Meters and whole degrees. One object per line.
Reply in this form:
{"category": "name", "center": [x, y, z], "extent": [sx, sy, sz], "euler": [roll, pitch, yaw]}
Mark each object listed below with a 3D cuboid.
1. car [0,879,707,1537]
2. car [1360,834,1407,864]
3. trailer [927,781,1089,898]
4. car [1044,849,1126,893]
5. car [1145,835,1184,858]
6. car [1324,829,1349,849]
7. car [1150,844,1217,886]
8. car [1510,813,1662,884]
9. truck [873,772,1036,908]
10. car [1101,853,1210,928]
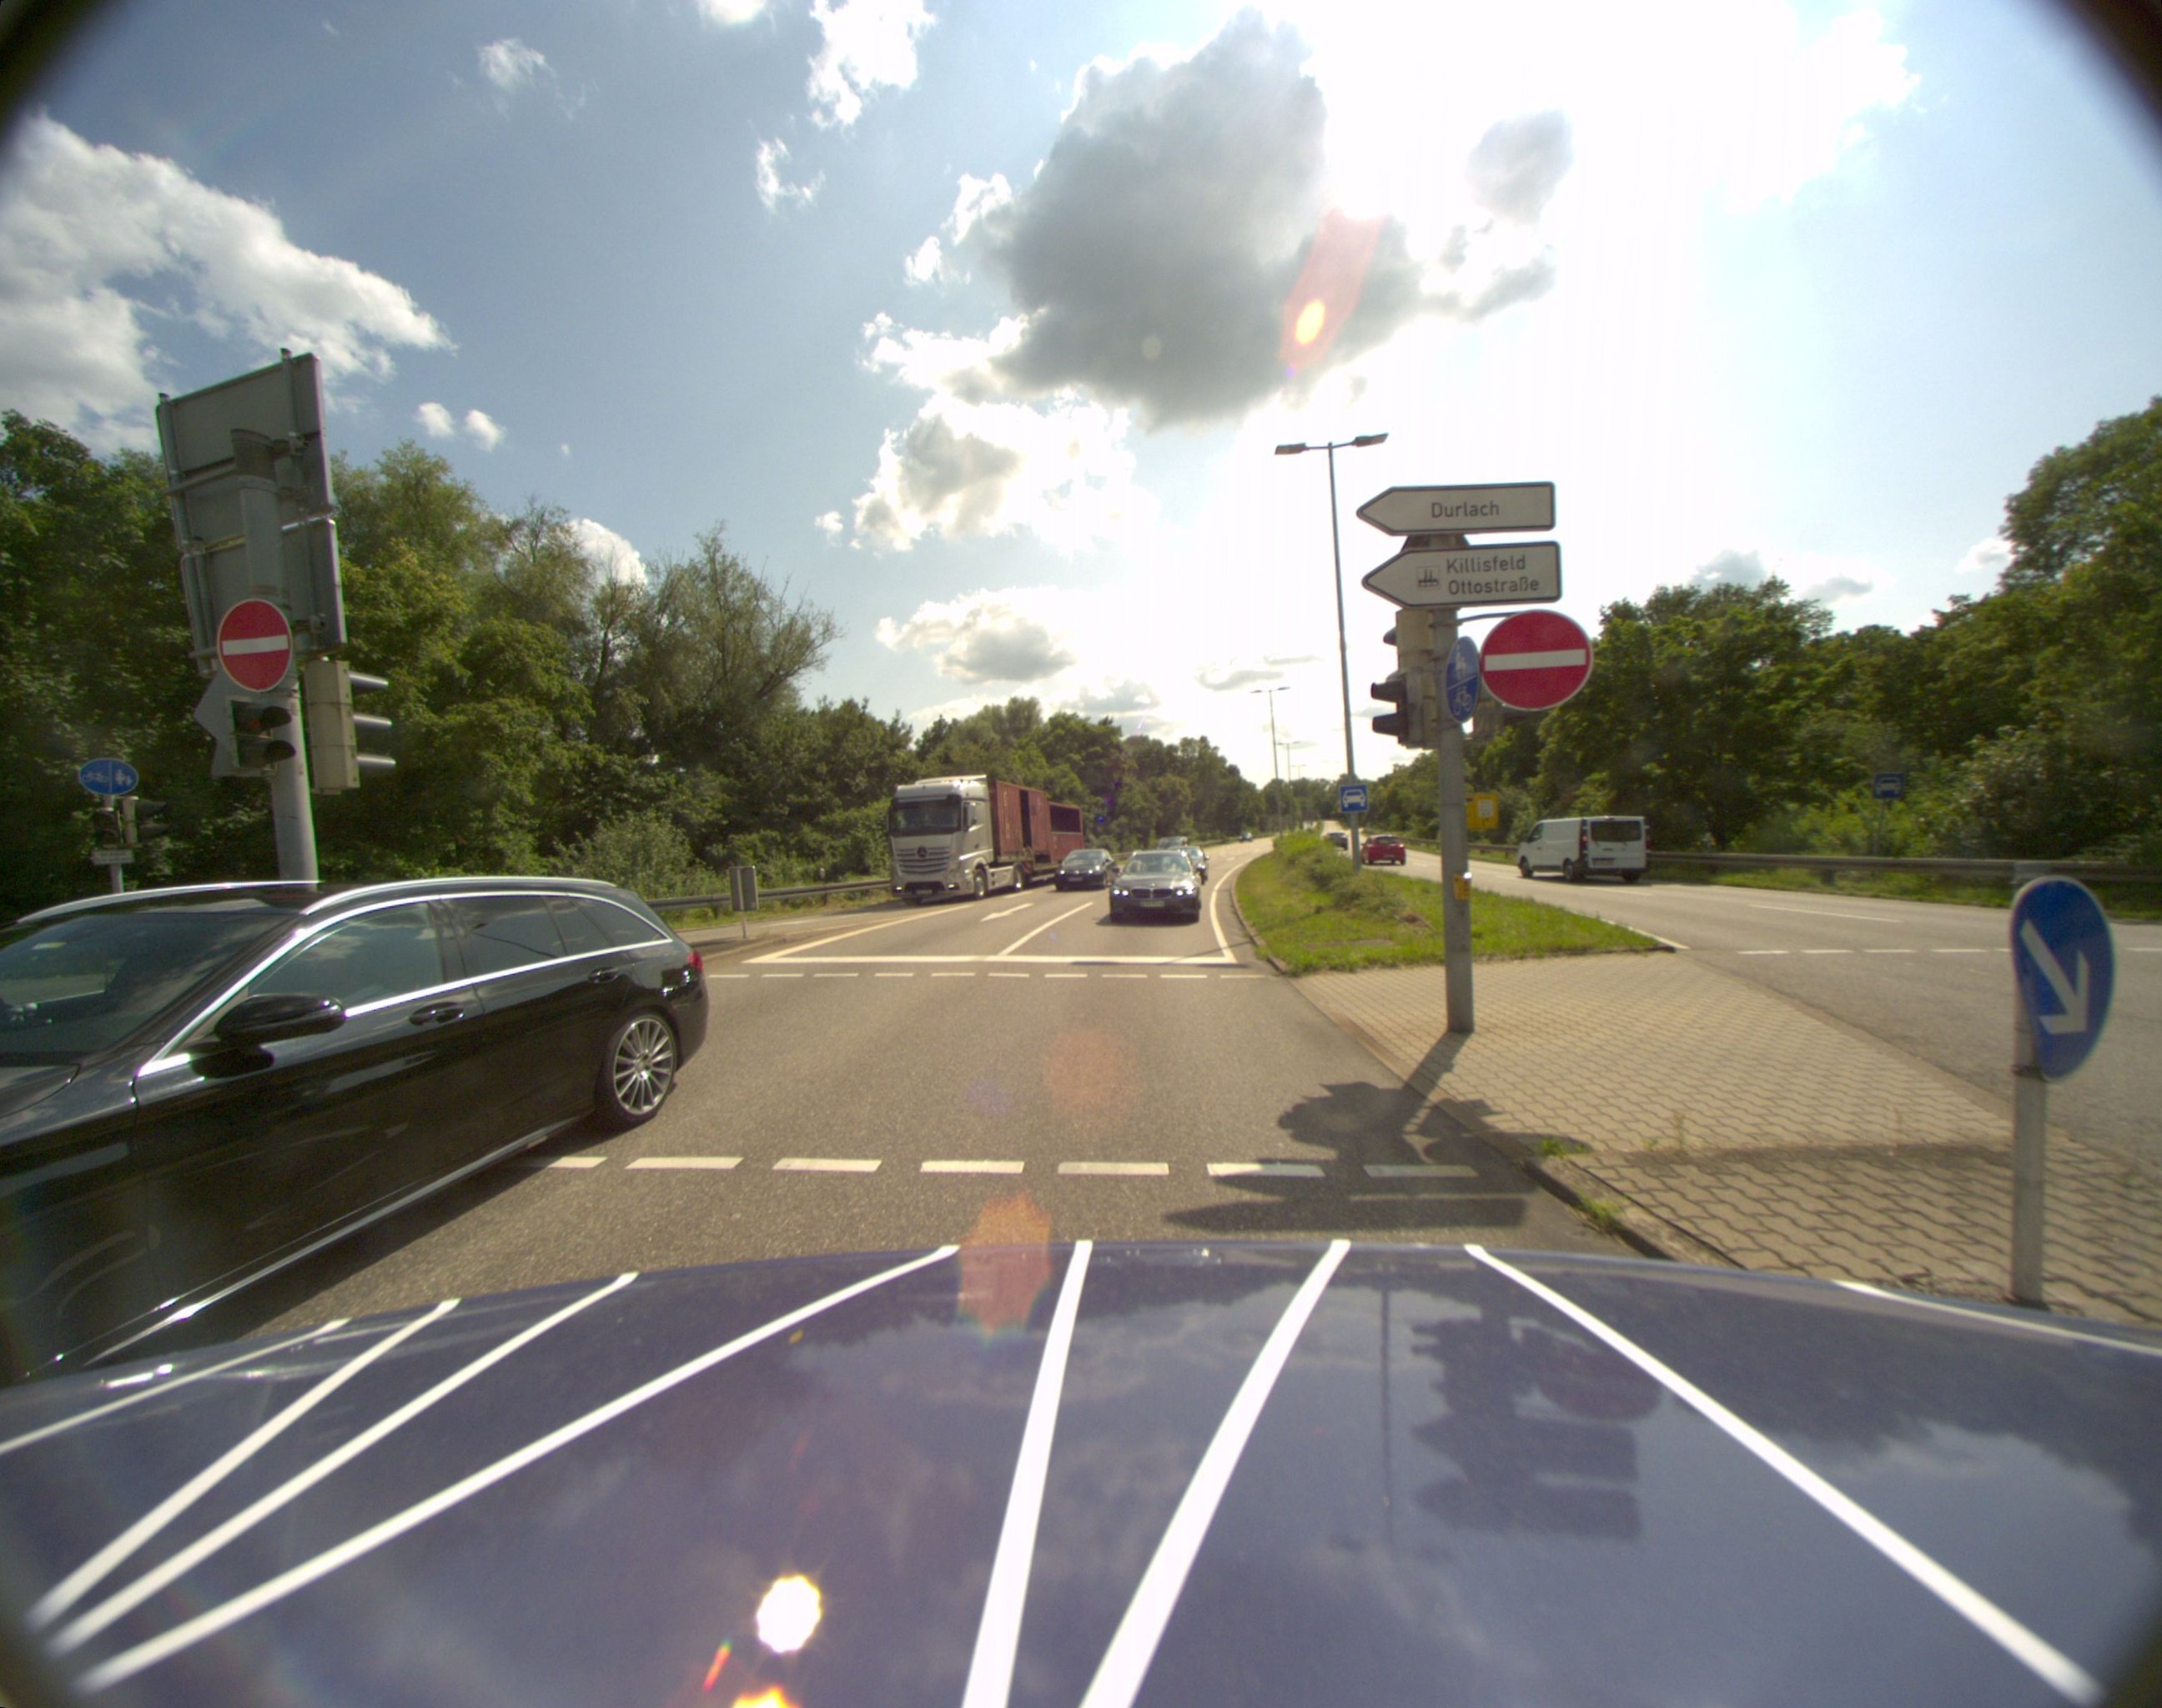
{"category": "car", "center": [-3.467, 0.951, 2.702], "extent": [1.794, 1.427, 4.370], "euler": [-2, 1, 4]}
{"category": "car", "center": [15.125, -0.274, 38.148], "extent": [1.583, 1.424, 4.003], "euler": [-1, 1, 12]}
{"category": "trailer", "center": [-2.433, -0.597, 31.799], "extent": [2.775, 3.828, 12.331], "euler": [-3, 1, 13]}
{"category": "car", "center": [0.226, 0.568, 27.804], "extent": [1.856, 1.403, 4.004], "euler": [-2, 1, 17]}
{"category": "car", "center": [5.731, -0.533, 51.741], "extent": [1.856, 1.403, 4.004], "euler": [-2, 1, 17]}
{"category": "car", "center": [21.196, -1.252, 63.111], "extent": [1.712, 1.577, 4.286], "euler": [-2, 1, 16]}
{"category": "car", "center": [4.044, 0.388, 29.408], "extent": [1.856, 1.403, 4.004], "euler": [-2, 1, 17]}
{"category": "car", "center": [15.721, -0.200, 24.049], "extent": [1.997, 2.002, 5.137], "euler": [0, 1, 8]}
{"category": "truck", "center": [-3.935, -0.455, 25.559], "extent": [2.773, 3.823, 6.825], "euler": [-3, 0, 13]}
{"category": "car", "center": [1.766, 0.699, 16.636], "extent": [1.856, 1.355, 4.003], "euler": [-1, 1, 13]}
